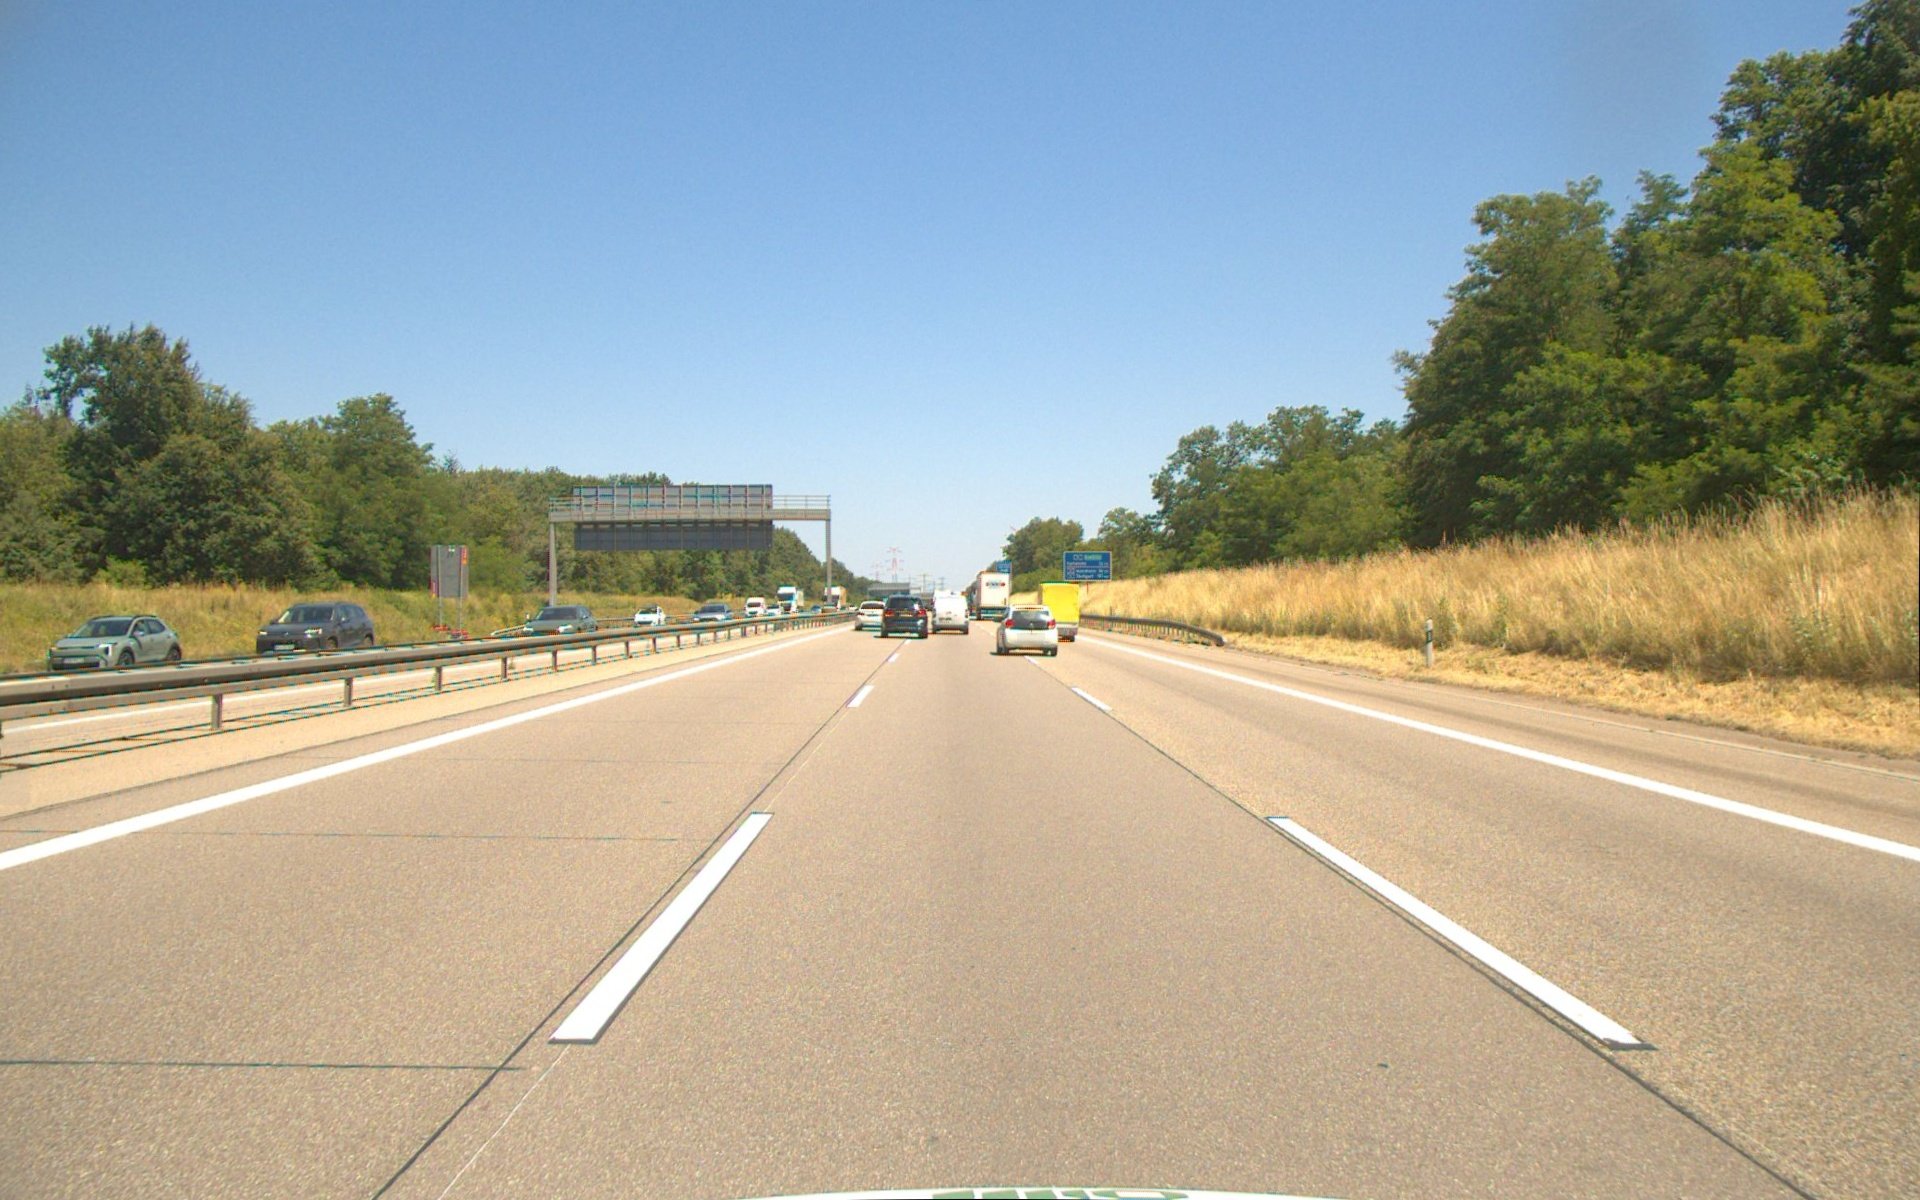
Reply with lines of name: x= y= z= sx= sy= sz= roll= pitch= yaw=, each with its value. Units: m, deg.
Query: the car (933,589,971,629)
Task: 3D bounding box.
car: x=-0.425 y=0.445 z=79.482 sx=1.777 sy=1.859 sz=5.109 roll=0 pitch=0 yaw=-1

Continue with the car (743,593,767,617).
car: x=-22.330 y=0.532 z=179.993 sx=1.947 sy=2.381 sz=5.808 roll=-3 pitch=0 yaw=-2

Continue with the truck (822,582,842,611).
truck: x=-19.266 y=-0.505 z=249.381 sx=2.414 sy=4.143 sz=6.286 roll=-3 pitch=0 yaw=-1

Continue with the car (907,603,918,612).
car: x=-6.327 y=0.976 z=220.488 sx=1.377 sy=1.151 sz=3.358 roll=1 pitch=0 yaw=-1

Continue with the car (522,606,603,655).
car: x=-13.164 y=0.972 z=55.015 sx=1.664 sy=1.454 sz=4.573 roll=-3 pitch=0 yaw=-2

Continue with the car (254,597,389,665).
car: x=-17.142 y=0.797 z=44.658 sx=1.758 sy=1.647 sz=4.985 roll=-3 pitch=0 yaw=-2

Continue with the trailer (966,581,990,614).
trailer: x=2.153 y=-0.269 z=203.170 sx=2.628 sy=3.904 sz=12.007 roll=1 pitch=-1 yaw=-1

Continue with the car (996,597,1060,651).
car: x=1.982 y=0.678 z=49.046 sx=1.673 sy=1.521 sz=4.023 roll=1 pitch=0 yaw=-1

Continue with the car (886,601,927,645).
car: x=-2.191 y=0.929 z=68.898 sx=1.593 sy=1.785 sz=3.804 roll=1 pitch=0 yaw=-1

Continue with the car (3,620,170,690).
car: x=-20.924 y=1.270 z=39.836 sx=1.637 sy=1.434 sz=4.596 roll=-3 pitch=0 yaw=-2

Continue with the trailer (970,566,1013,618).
trailer: x=2.705 y=-0.610 z=146.289 sx=3.219 sy=4.293 sz=13.561 roll=1 pitch=-1 yaw=-1

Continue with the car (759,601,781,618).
car: x=-18.340 y=0.896 z=160.008 sx=1.613 sy=1.525 sz=4.559 roll=-3 pitch=0 yaw=-2

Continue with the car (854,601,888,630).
car: x=-4.559 y=0.795 z=84.754 sx=1.635 sy=1.426 sz=3.711 roll=0 pitch=0 yaw=-2

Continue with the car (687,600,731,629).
car: x=-13.993 y=0.801 z=92.445 sx=1.758 sy=1.500 sz=4.985 roll=-3 pitch=0 yaw=-1

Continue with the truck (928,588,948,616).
truck: x=-2.346 y=0.239 z=175.333 sx=2.018 sy=2.965 sz=7.001 roll=0 pitch=0 yaw=-1

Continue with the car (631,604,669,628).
car: x=-21.340 y=1.094 z=114.056 sx=1.758 sy=1.543 sz=4.902 roll=-3 pitch=0 yaw=-2

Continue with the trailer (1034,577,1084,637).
trailer: x=3.981 y=0.270 z=66.791 sx=1.668 sy=2.330 sz=3.838 roll=1 pitch=0 yaw=-2

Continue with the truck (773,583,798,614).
truck: x=-23.572 y=-0.207 z=223.633 sx=2.572 sy=4.017 sz=6.481 roll=-3 pitch=0 yaw=-1
